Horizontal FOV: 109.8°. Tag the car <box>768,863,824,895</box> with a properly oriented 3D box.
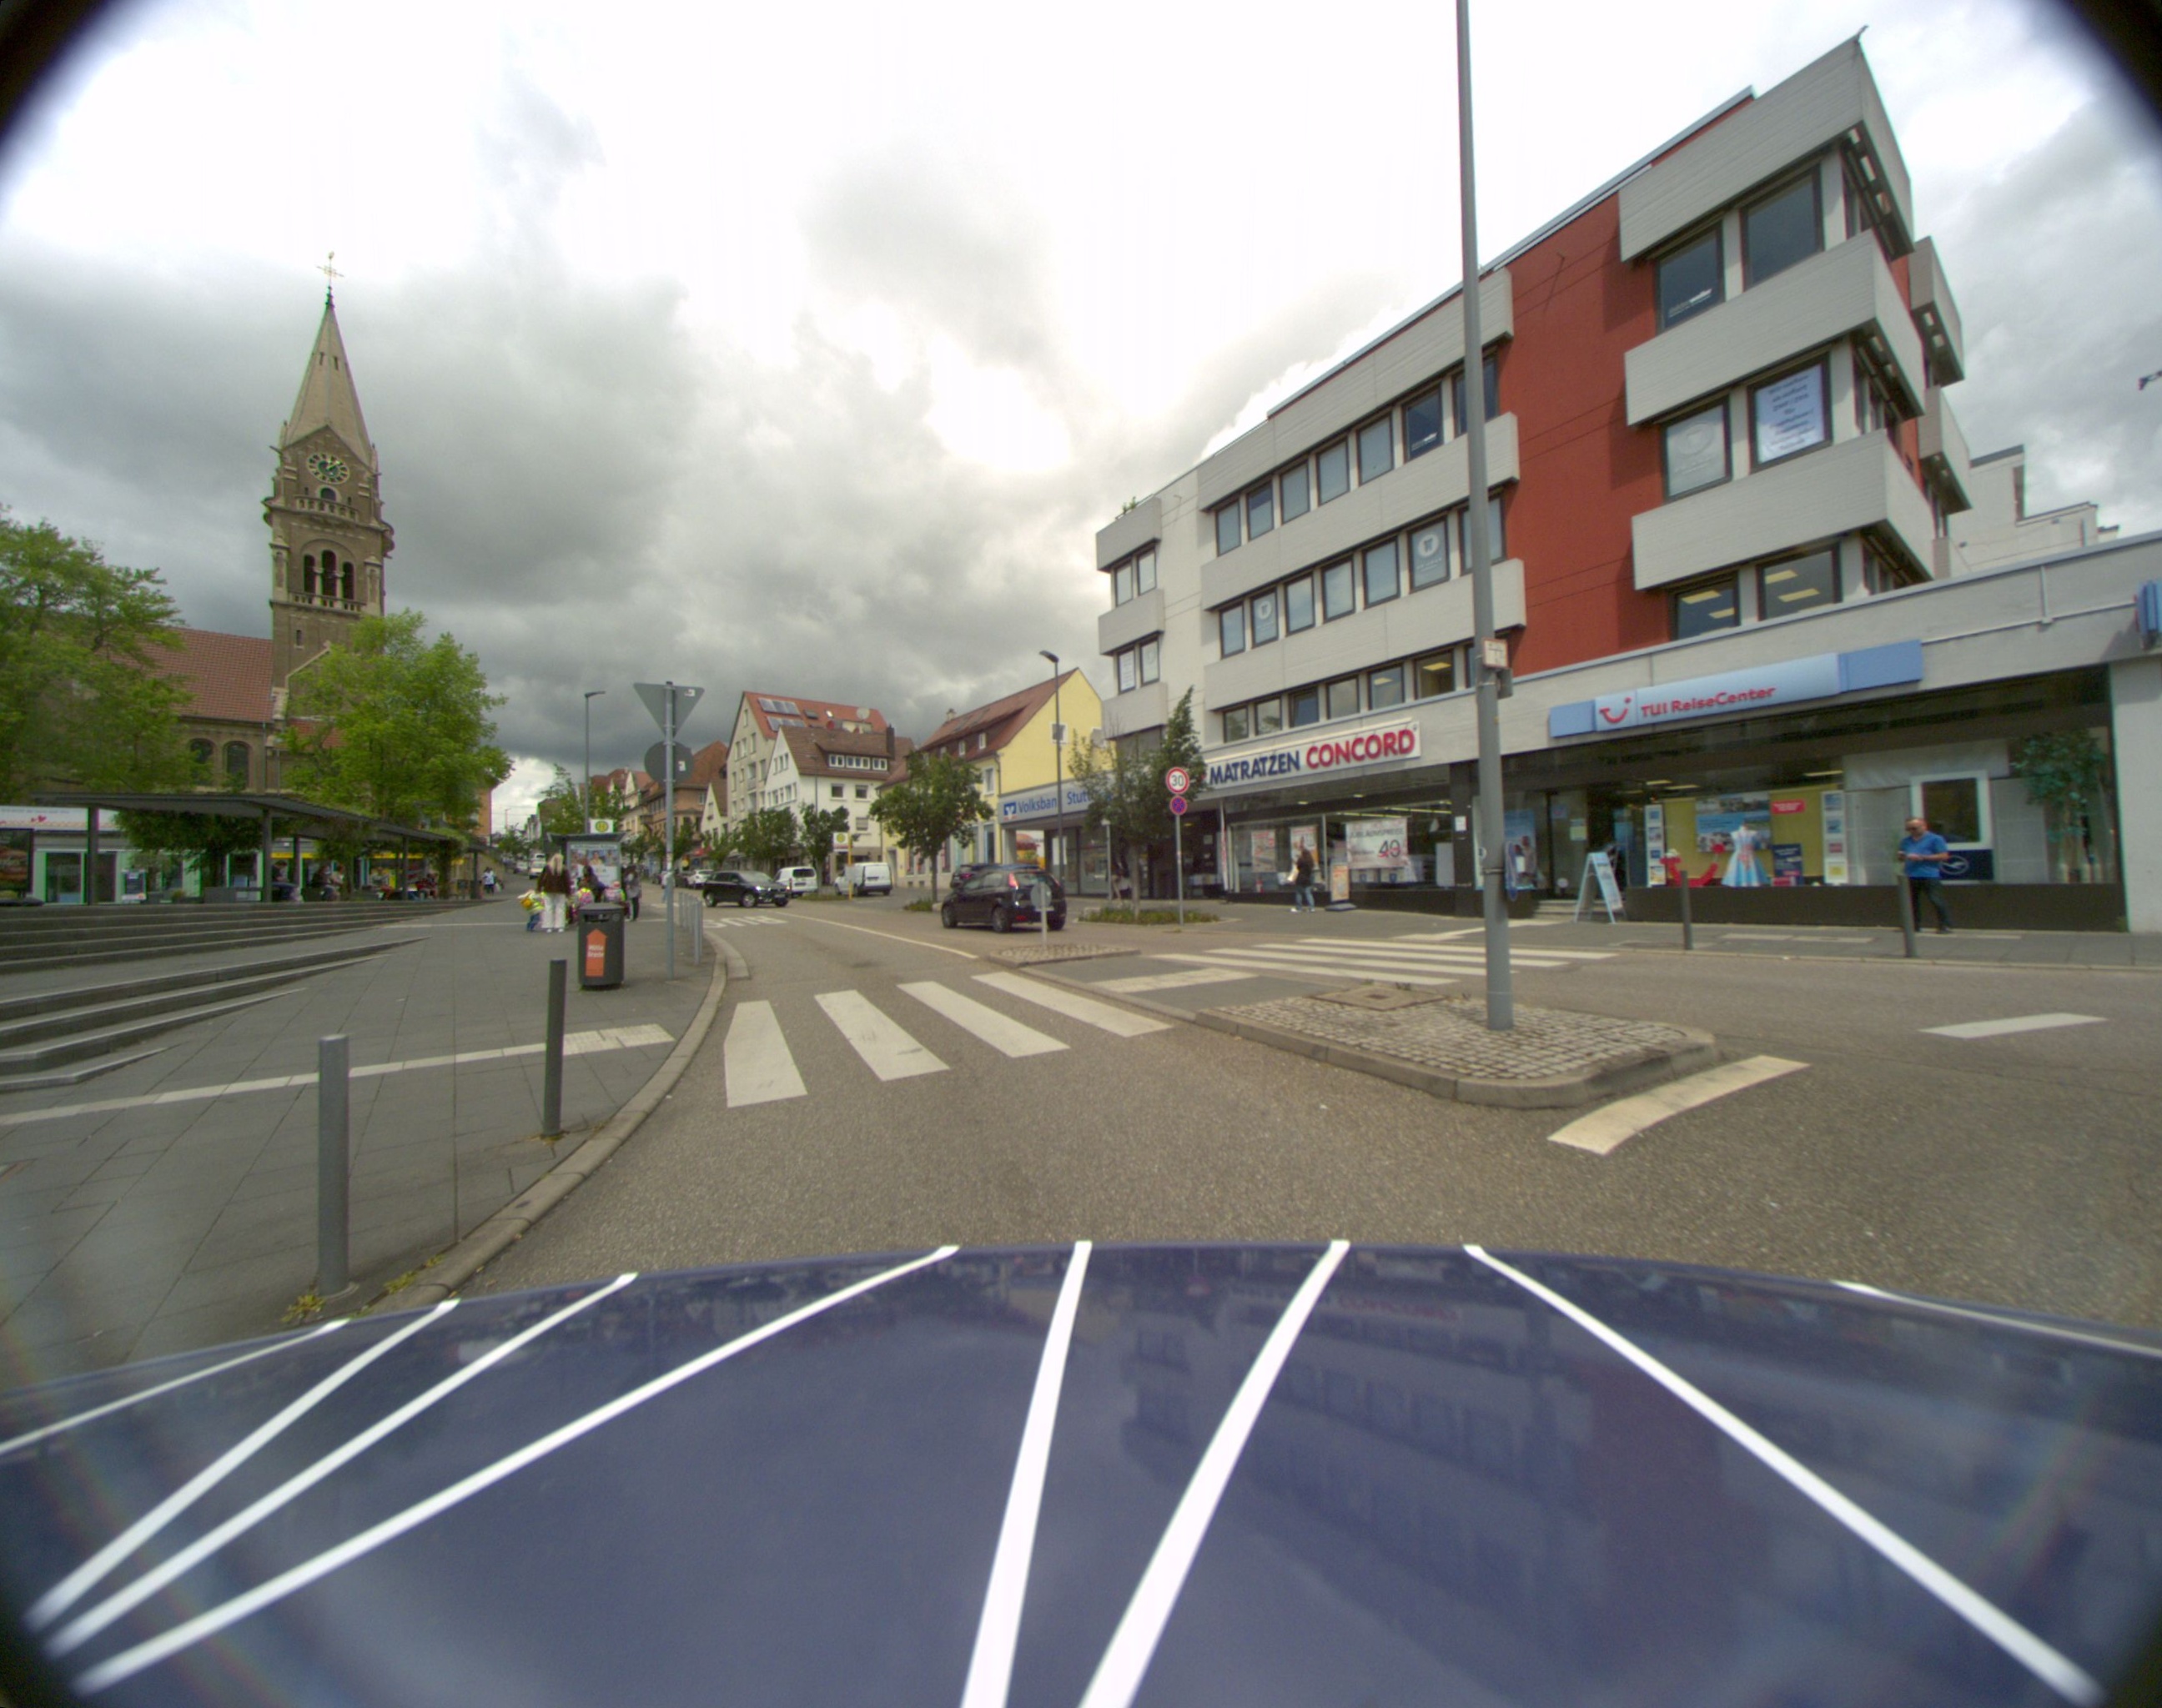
[{"bbox_3d":[-16.100,1.384,42.795,1.665,1.662,4.339,-2,1,-38],"label":"car"}]

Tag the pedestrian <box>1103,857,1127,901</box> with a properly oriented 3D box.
[{"bbox_3d":[1.244,0.903,27.645,0.646,1.557,0.585,1,-1,-35],"label":"pedestrian"}]

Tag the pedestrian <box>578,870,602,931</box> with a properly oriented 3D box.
[{"bbox_3d":[-12.320,1.164,19.072,0.388,1.508,0.392,0,-1,42],"label":"pedestrian"}]

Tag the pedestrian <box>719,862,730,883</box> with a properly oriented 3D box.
[{"bbox_3d":[-30.955,1.588,66.027,0.663,1.751,0.775,-1,2,-39],"label":"pedestrian"}]

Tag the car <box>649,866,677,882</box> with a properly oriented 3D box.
[{"bbox_3d":[-40.996,1.931,74.502,1.665,1.384,4.431,-1,1,-39],"label":"car"}]

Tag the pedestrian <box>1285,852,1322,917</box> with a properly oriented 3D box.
[{"bbox_3d":[5.572,0.754,19.038,0.590,1.579,0.637,-2,1,-41],"label":"pedestrian"}]

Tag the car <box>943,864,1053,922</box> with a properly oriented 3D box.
[{"bbox_3d":[-2.749,1.175,24.285,1.702,1.590,4.321,-4,1,-32],"label":"car"}]

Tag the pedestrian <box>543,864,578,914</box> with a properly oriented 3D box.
[{"bbox_3d":[-17.179,1.135,25.082,0.801,1.627,0.685,0,0,-20],"label":"pedestrian"}]

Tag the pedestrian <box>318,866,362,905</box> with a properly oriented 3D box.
[{"bbox_3d":[-24.833,1.040,25.474,0.770,1.261,0.676,-2,0,-1],"label":"pedestrian"}]

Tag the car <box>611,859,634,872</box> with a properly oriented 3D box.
[{"bbox_3d":[-56.405,1.386,93.497,1.673,1.518,3.951,-3,3,-42],"label":"car"}]

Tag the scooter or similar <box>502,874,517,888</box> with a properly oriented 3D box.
[{"bbox_3d":[-44.144,2.063,58.708,0.816,1.066,0.559,1,1,-28],"label":"scooter or similar"}]

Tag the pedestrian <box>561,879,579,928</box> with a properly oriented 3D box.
[{"bbox_3d":[-12.951,1.253,19.258,0.324,1.230,0.333,2,-1,-30],"label":"pedestrian"}]

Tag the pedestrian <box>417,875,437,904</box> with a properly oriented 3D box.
[{"bbox_3d":[-28.522,1.545,33.143,0.571,1.254,0.540,0,-3,-30],"label":"pedestrian"}]

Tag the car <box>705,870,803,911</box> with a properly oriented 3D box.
[{"bbox_3d":[-14.080,1.520,32.674,3.725,1.516,1.899,0,2,27],"label":"car"}]

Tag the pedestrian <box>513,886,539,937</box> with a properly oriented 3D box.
[{"bbox_3d":[-12.677,1.307,17.367,0.441,1.141,0.382,1,-1,-32],"label":"pedestrian"}]

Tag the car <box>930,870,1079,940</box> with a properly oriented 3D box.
[{"bbox_3d":[-1.974,1.142,18.539,1.707,1.411,4.108,-2,1,-36],"label":"car"}]

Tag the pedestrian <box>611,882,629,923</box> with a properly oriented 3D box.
[{"bbox_3d":[-13.146,1.375,21.658,0.298,1.145,0.294,0,-1,13],"label":"pedestrian"}]

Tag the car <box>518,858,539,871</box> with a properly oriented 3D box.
[{"bbox_3d":[-69.974,1.295,96.190,1.821,1.439,3.934,3,-1,-41],"label":"car"}]

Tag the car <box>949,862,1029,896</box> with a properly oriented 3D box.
[{"bbox_3d":[-4.646,1.215,38.487,3.646,1.549,1.664,-2,0,-36],"label":"car"}]

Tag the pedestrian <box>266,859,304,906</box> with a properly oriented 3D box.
[{"bbox_3d":[-23.010,0.815,21.983,0.570,1.316,0.544,-2,0,-25],"label":"pedestrian"}]

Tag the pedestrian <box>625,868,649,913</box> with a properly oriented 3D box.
[{"bbox_3d":[-15.352,1.254,26.268,0.543,1.540,0.487,0,-1,10],"label":"pedestrian"}]

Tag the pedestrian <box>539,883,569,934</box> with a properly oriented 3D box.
[{"bbox_3d":[-12.641,1.295,18.236,0.391,1.191,0.511,1,-1,-9],"label":"pedestrian"}]

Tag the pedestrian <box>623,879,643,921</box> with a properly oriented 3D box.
[{"bbox_3d":[-13.069,1.336,22.165,0.404,1.219,0.388,0,-1,-12],"label":"pedestrian"}]

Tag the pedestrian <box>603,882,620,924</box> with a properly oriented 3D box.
[{"bbox_3d":[-13.185,1.363,21.334,0.270,1.153,0.265,0,-1,17],"label":"pedestrian"}]

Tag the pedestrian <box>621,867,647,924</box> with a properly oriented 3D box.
[{"bbox_3d":[-12.716,1.172,21.633,0.387,1.610,0.470,0,-1,14],"label":"pedestrian"}]

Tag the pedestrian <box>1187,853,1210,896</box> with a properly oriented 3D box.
[{"bbox_3d":[4.730,0.814,30.500,0.646,1.694,0.585,1,-3,-44],"label":"pedestrian"}]

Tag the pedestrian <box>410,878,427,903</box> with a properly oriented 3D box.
[{"bbox_3d":[-28.446,1.575,32.643,0.478,1.082,0.367,0,-3,-30],"label":"pedestrian"}]

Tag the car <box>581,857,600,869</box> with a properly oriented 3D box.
[{"bbox_3d":[-70.274,1.249,108.848,1.736,1.670,3.980,-1,2,-40],"label":"car"}]

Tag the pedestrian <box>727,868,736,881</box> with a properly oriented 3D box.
[{"bbox_3d":[-32.788,1.917,71.266,0.552,1.260,0.597,-2,2,-39],"label":"pedestrian"}]

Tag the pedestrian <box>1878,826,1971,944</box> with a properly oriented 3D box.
[{"bbox_3d":[11.797,0.425,10.644,0.605,1.594,0.569,-2,0,11],"label":"pedestrian"}]

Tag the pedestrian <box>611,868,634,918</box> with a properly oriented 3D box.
[{"bbox_3d":[-14.601,1.225,24.195,0.496,1.556,0.502,-1,-1,40],"label":"pedestrian"}]

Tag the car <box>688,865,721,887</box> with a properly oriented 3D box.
[{"bbox_3d":[-30.796,1.764,62.089,1.674,1.637,4.122,-2,1,-37],"label":"car"}]

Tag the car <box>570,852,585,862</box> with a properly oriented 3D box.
[{"bbox_3d":[-81.182,0.464,122.445,1.695,1.515,3.518,0,1,-40],"label":"car"}]

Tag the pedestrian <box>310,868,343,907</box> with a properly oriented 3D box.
[{"bbox_3d":[-24.419,1.086,24.612,0.570,1.220,0.565,-2,0,-25],"label":"pedestrian"}]

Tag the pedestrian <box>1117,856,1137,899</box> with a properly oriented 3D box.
[{"bbox_3d":[1.705,0.863,28.157,0.512,1.557,0.585,1,-1,-34],"label":"pedestrian"}]

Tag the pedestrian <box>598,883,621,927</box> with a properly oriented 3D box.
[{"bbox_3d":[-12.734,1.364,20.528,0.350,1.160,0.336,2,-1,25],"label":"pedestrian"}]

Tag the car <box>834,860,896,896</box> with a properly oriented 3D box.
[{"bbox_3d":[-11.969,1.294,41.960,1.765,1.803,4.465,-3,1,-37],"label":"car"}]

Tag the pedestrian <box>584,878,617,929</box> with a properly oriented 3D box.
[{"bbox_3d":[-12.635,1.298,19.990,0.598,1.296,0.434,1,-1,22],"label":"pedestrian"}]

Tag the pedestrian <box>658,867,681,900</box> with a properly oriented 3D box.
[{"bbox_3d":[-21.097,1.529,38.958,0.685,1.672,0.715,-1,0,17],"label":"pedestrian"}]

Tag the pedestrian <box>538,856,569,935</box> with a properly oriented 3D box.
[{"bbox_3d":[-12.278,0.964,17.693,0.542,1.812,0.434,2,-1,-33],"label":"pedestrian"}]

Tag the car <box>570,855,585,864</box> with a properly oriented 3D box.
[{"bbox_3d":[-81.212,0.858,122.514,1.615,1.380,3.619,1,-1,-38],"label":"car"}]

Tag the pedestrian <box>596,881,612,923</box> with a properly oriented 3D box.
[{"bbox_3d":[-13.212,1.331,21.061,0.250,1.166,0.252,0,-1,14],"label":"pedestrian"}]

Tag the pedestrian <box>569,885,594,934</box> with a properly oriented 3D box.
[{"bbox_3d":[-12.049,1.326,18.340,0.477,1.165,0.390,2,-1,-34],"label":"pedestrian"}]

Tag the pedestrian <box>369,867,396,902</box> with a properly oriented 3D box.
[{"bbox_3d":[-26.848,1.169,29.209,0.627,1.299,0.545,0,-1,-30],"label":"pedestrian"}]
